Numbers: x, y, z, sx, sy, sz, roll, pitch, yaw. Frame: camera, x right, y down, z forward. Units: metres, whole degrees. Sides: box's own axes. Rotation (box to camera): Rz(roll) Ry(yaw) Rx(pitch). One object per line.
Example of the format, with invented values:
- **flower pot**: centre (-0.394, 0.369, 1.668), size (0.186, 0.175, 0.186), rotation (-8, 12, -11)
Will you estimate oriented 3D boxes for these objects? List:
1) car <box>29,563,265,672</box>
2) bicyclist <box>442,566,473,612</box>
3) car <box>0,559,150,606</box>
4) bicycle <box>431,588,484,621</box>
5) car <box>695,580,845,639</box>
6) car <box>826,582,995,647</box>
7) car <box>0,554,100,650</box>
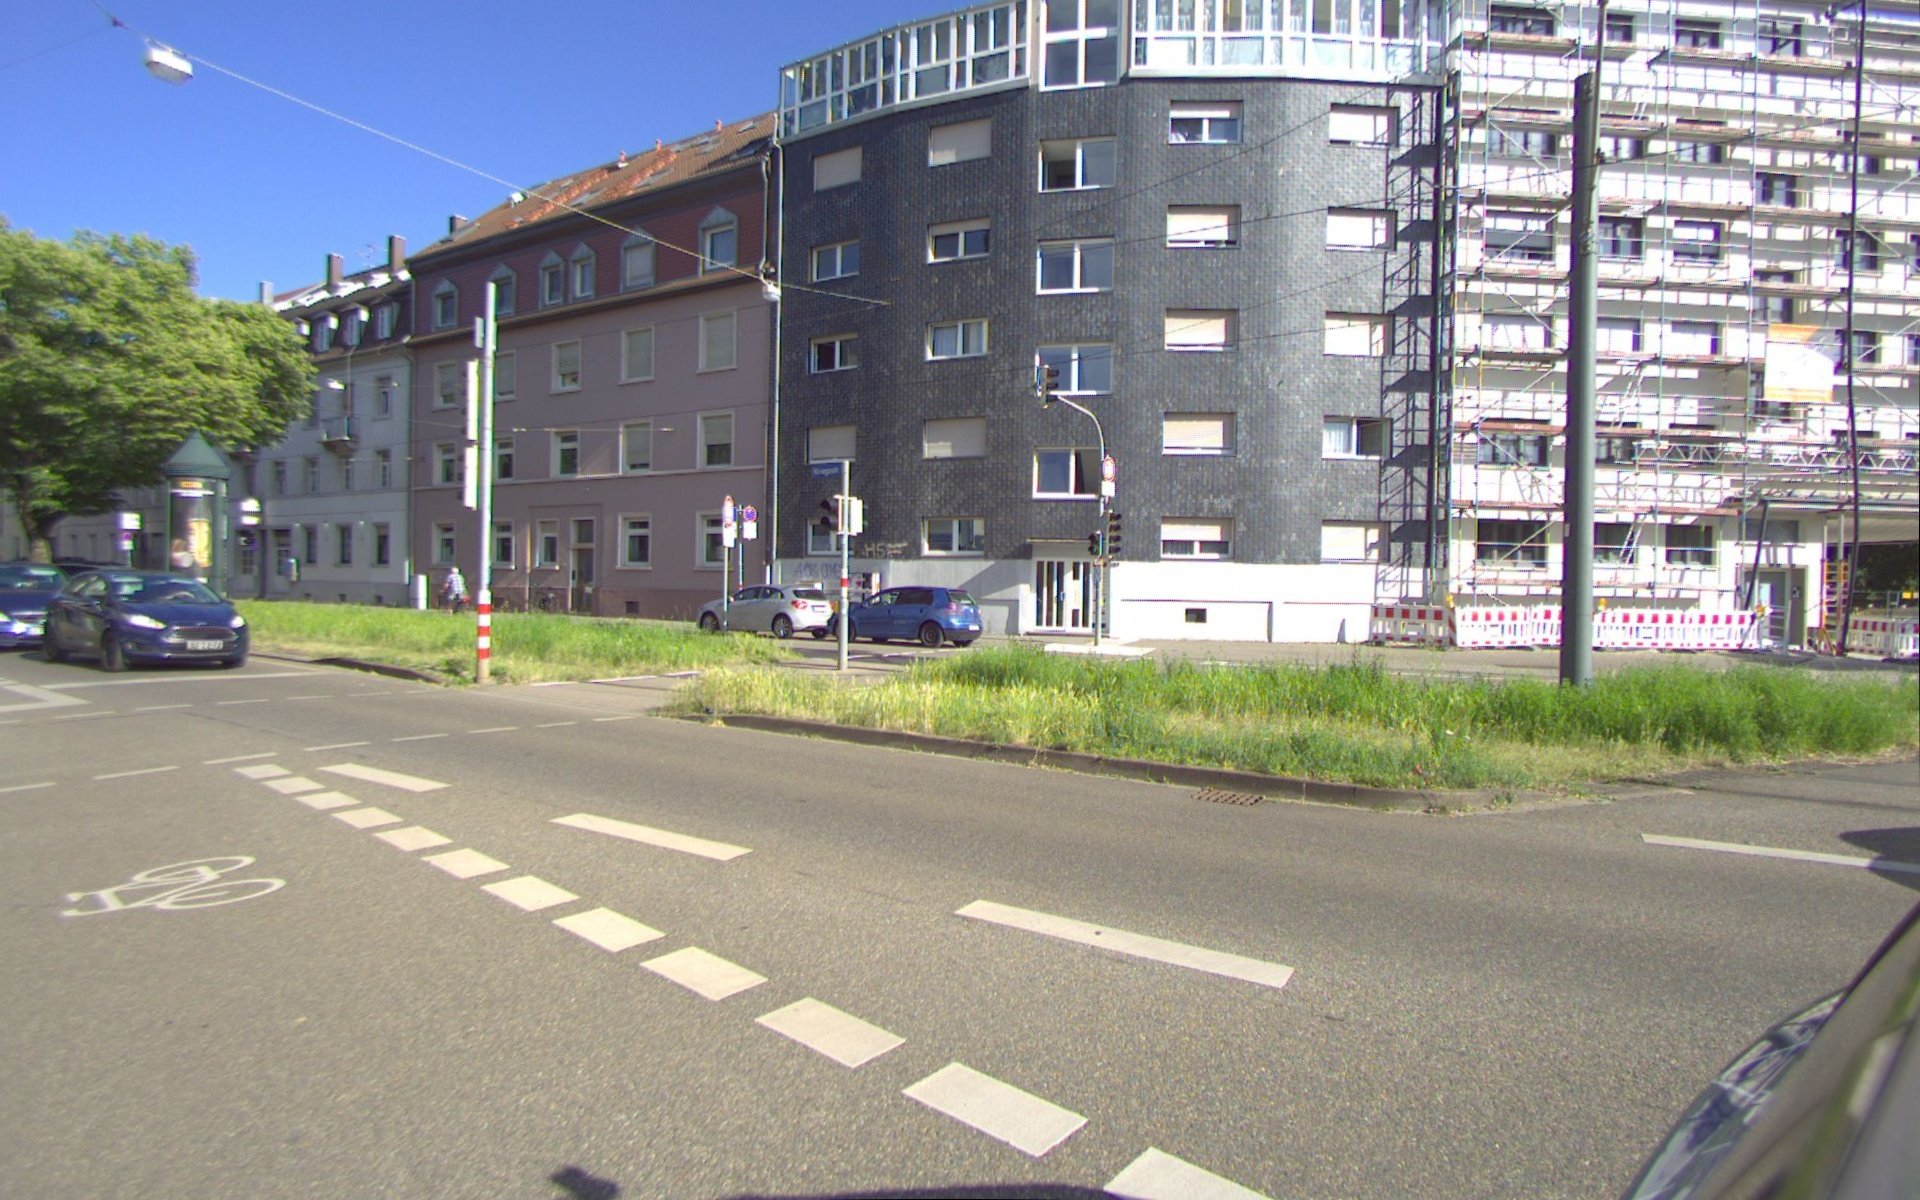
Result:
- **car**: centre (-12.536, 0.215, 15.549), size (3.973, 1.472, 1.713), rotation (2, -1, 34)
- **bicyclist**: centre (-15.783, -0.337, 31.800), size (0.798, 1.427, 0.504), rotation (1, 0, 30)
- **car**: centre (-31.619, -0.622, 36.020), size (3.916, 1.593, 2.004), rotation (1, 1, -22)
- **bicycle**: centre (-15.806, 0.141, 31.818), size (1.981, 0.967, 0.501), rotation (2, 1, 31)
- **car**: centre (-5.218, 0.223, 27.618), size (3.970, 1.433, 1.669), rotation (2, 1, 32)
- **car**: centre (-1.265, 0.317, 25.124), size (3.970, 1.433, 1.669), rotation (2, 1, 32)
- **car**: centre (-17.351, -0.012, 18.384), size (3.973, 1.601, 1.639), rotation (2, 1, 34)
